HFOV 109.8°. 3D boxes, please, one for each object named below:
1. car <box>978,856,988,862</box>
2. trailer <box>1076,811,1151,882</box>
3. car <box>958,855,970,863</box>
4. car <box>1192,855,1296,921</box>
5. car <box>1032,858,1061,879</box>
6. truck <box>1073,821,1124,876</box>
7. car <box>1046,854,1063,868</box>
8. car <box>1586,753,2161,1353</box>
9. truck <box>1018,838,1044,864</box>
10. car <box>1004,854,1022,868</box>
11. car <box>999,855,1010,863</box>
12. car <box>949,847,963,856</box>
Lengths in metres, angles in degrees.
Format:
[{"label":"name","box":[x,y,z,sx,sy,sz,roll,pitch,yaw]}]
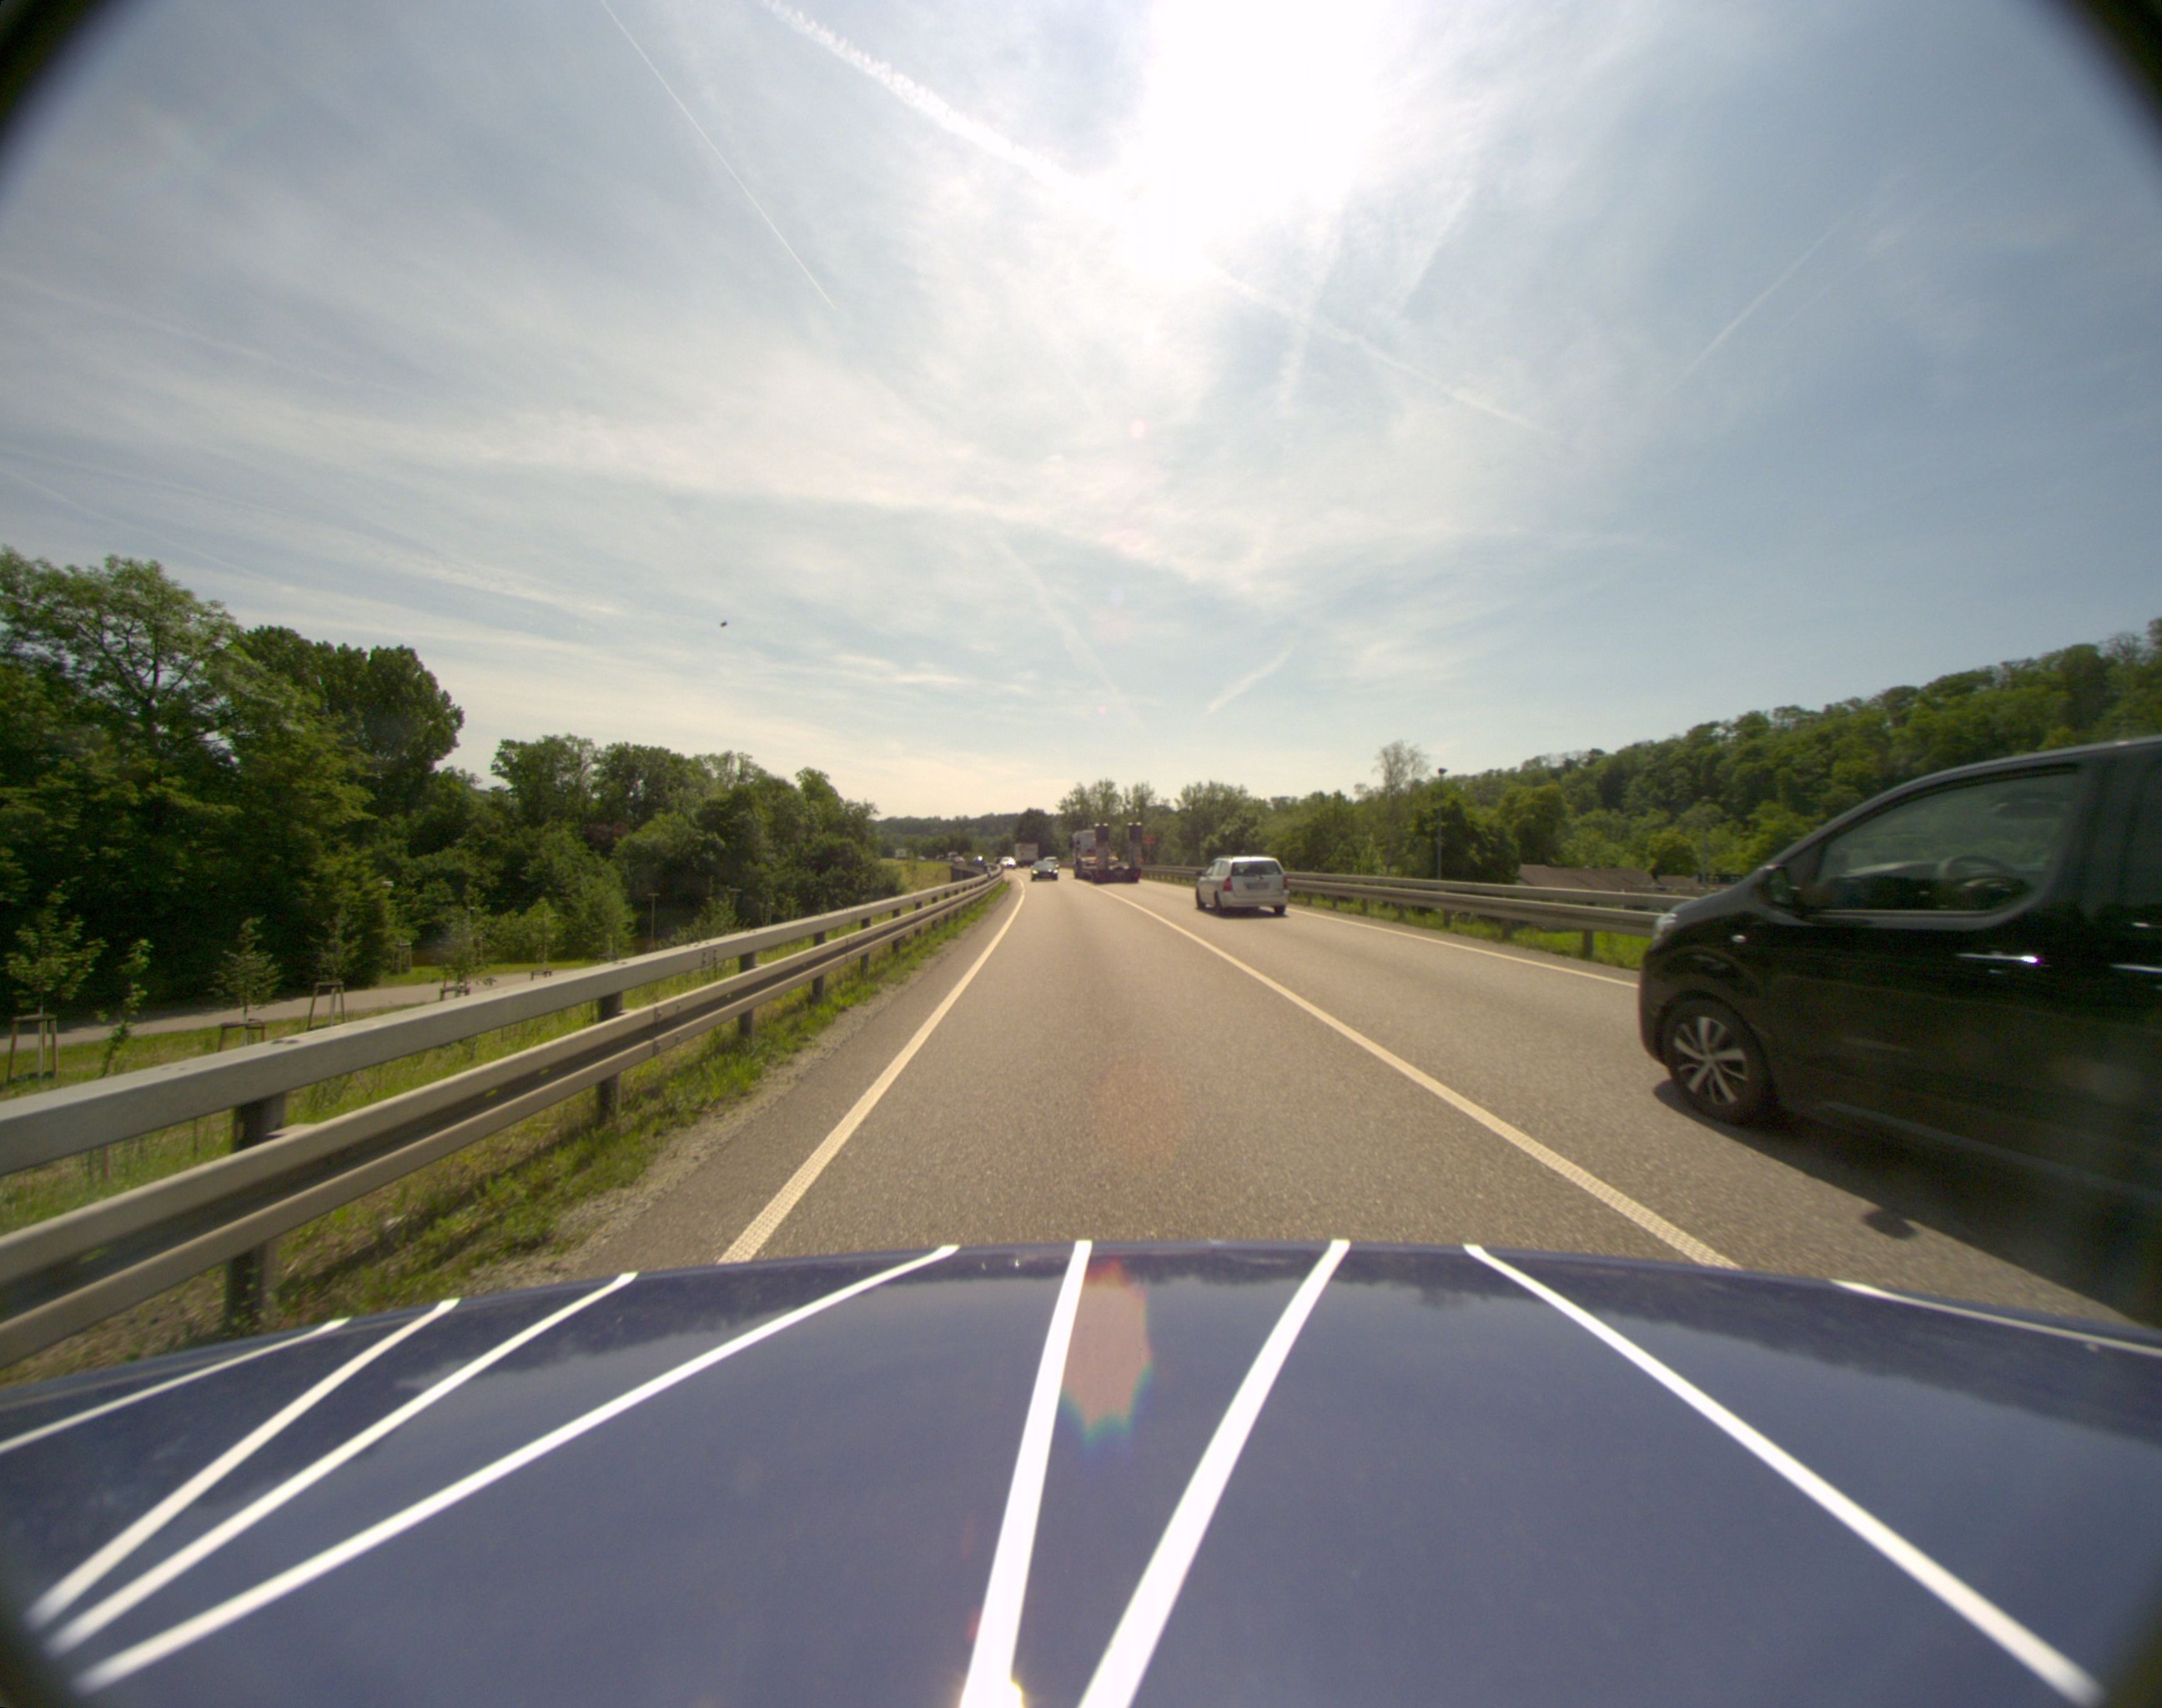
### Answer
[{"label":"car","box":[-22.624,1.167,175.656,1.727,1.427,4.611,-2,0,-15]},{"label":"trailer","box":[1.838,-0.436,51.097,3.127,3.956,15.349,-1,0,-5]},{"label":"car","box":[-26.782,1.227,173.842,1.983,1.722,3.994,-1,0,-19]},{"label":"car","box":[4.125,0.808,19.928,1.772,1.485,4.169,-2,0,0]},{"label":"car","box":[-2.478,0.989,53.807,1.981,1.333,3.998,-2,0,-4]},{"label":"truck","box":[1.228,-0.437,58.489,3.127,3.934,6.618,-1,0,-5]},{"label":"car","box":[-3.311,0.837,93.682,1.763,1.503,3.996,-2,2,-7]},{"label":"car","box":[4.279,0.591,2.377,1.926,1.849,5.175,-2,0,0]},{"label":"truck","box":[-7.772,-0.350,116.980,2.924,3.781,9.700,-2,0,-9]},{"label":"car","box":[-9.339,0.883,103.743,1.982,1.779,3.995,-2,1,-11]},{"label":"car","box":[-15.404,0.971,153.380,1.727,1.474,4.564,-2,0,-13]},{"label":"car","box":[-34.090,-0.665,207.349,2.189,2.545,5.784,-2,1,-24]}]
